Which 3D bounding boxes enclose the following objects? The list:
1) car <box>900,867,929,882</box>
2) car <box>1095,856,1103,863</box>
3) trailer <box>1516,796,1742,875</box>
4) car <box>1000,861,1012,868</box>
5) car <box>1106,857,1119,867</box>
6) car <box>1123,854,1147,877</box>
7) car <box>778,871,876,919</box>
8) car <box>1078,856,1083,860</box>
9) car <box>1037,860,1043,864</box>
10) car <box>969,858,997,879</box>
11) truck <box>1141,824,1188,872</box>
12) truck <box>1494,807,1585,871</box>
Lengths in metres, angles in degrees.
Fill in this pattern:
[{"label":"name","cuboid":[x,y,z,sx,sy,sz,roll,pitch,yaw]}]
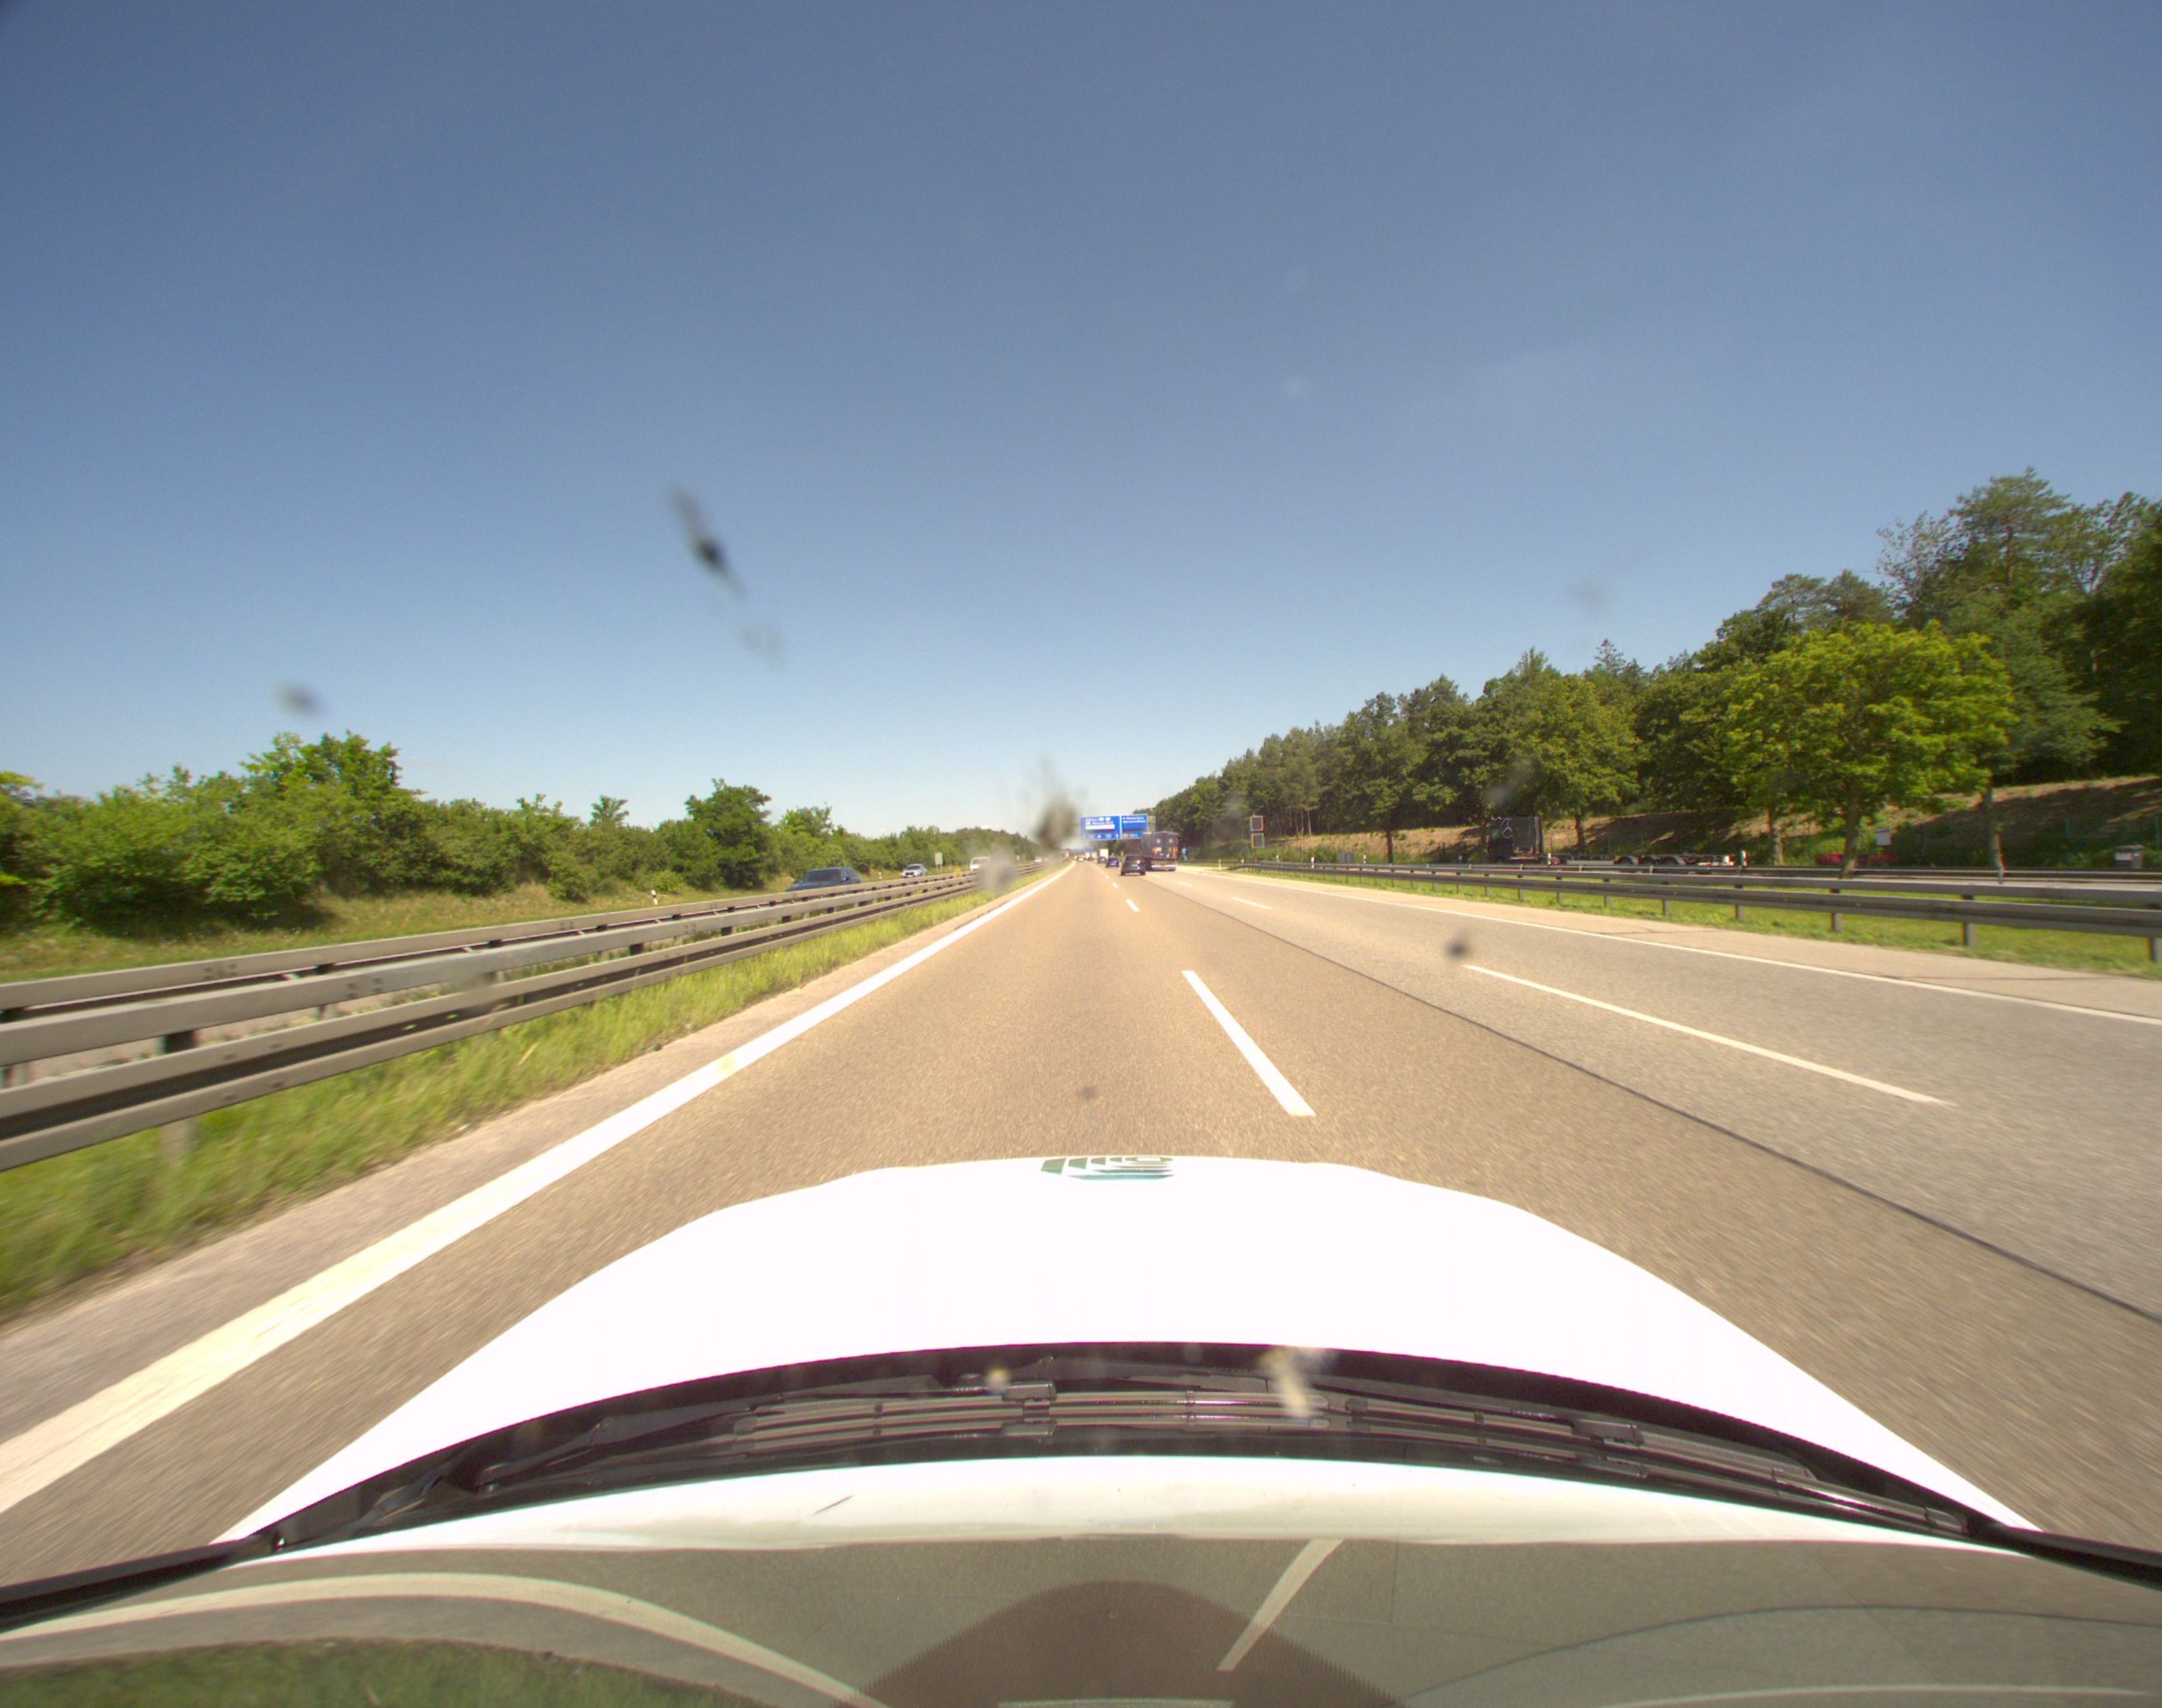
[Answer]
[{"label":"car","cuboid":[-16.627,2.030,81.616,1.781,1.439,4.522,-2,0,2]},{"label":"car","cuboid":[3.760,1.036,168.525,1.465,1.398,3.411,1,0,2]},{"label":"trailer","cuboid":[31.025,-0.911,47.329,2.573,3.915,12.697,-1,0,-12]},{"label":"car","cuboid":[-16.651,2.336,181.252,1.986,1.593,4.301,-2,0,1]},{"label":"car","cuboid":[4.271,1.074,110.778,1.702,1.155,3.690,-2,0,2]},{"label":"car","cuboid":[4.281,0.866,64.266,1.791,1.669,4.263,-1,0,4]},{"label":"car","cuboid":[-8.859,1.387,28.829,1.986,1.439,4.205,-2,0,2]},{"label":"car","cuboid":[-0.090,1.346,252.561,1.465,1.227,3.411,-2,0,2]},{"label":"car","cuboid":[-12.786,2.525,254.890,1.598,1.299,3.792,-1,0,1]},{"label":"car","cuboid":[-9.200,1.356,76.876,1.913,1.872,5.518,1,0,1]},{"label":"truck","cuboid":[8.374,-0.596,83.754,3.766,4.422,14.056,-1,0,2]},{"label":"truck","cuboid":[29.798,-0.914,53.158,2.574,3.915,4.846,-1,0,-12]}]
